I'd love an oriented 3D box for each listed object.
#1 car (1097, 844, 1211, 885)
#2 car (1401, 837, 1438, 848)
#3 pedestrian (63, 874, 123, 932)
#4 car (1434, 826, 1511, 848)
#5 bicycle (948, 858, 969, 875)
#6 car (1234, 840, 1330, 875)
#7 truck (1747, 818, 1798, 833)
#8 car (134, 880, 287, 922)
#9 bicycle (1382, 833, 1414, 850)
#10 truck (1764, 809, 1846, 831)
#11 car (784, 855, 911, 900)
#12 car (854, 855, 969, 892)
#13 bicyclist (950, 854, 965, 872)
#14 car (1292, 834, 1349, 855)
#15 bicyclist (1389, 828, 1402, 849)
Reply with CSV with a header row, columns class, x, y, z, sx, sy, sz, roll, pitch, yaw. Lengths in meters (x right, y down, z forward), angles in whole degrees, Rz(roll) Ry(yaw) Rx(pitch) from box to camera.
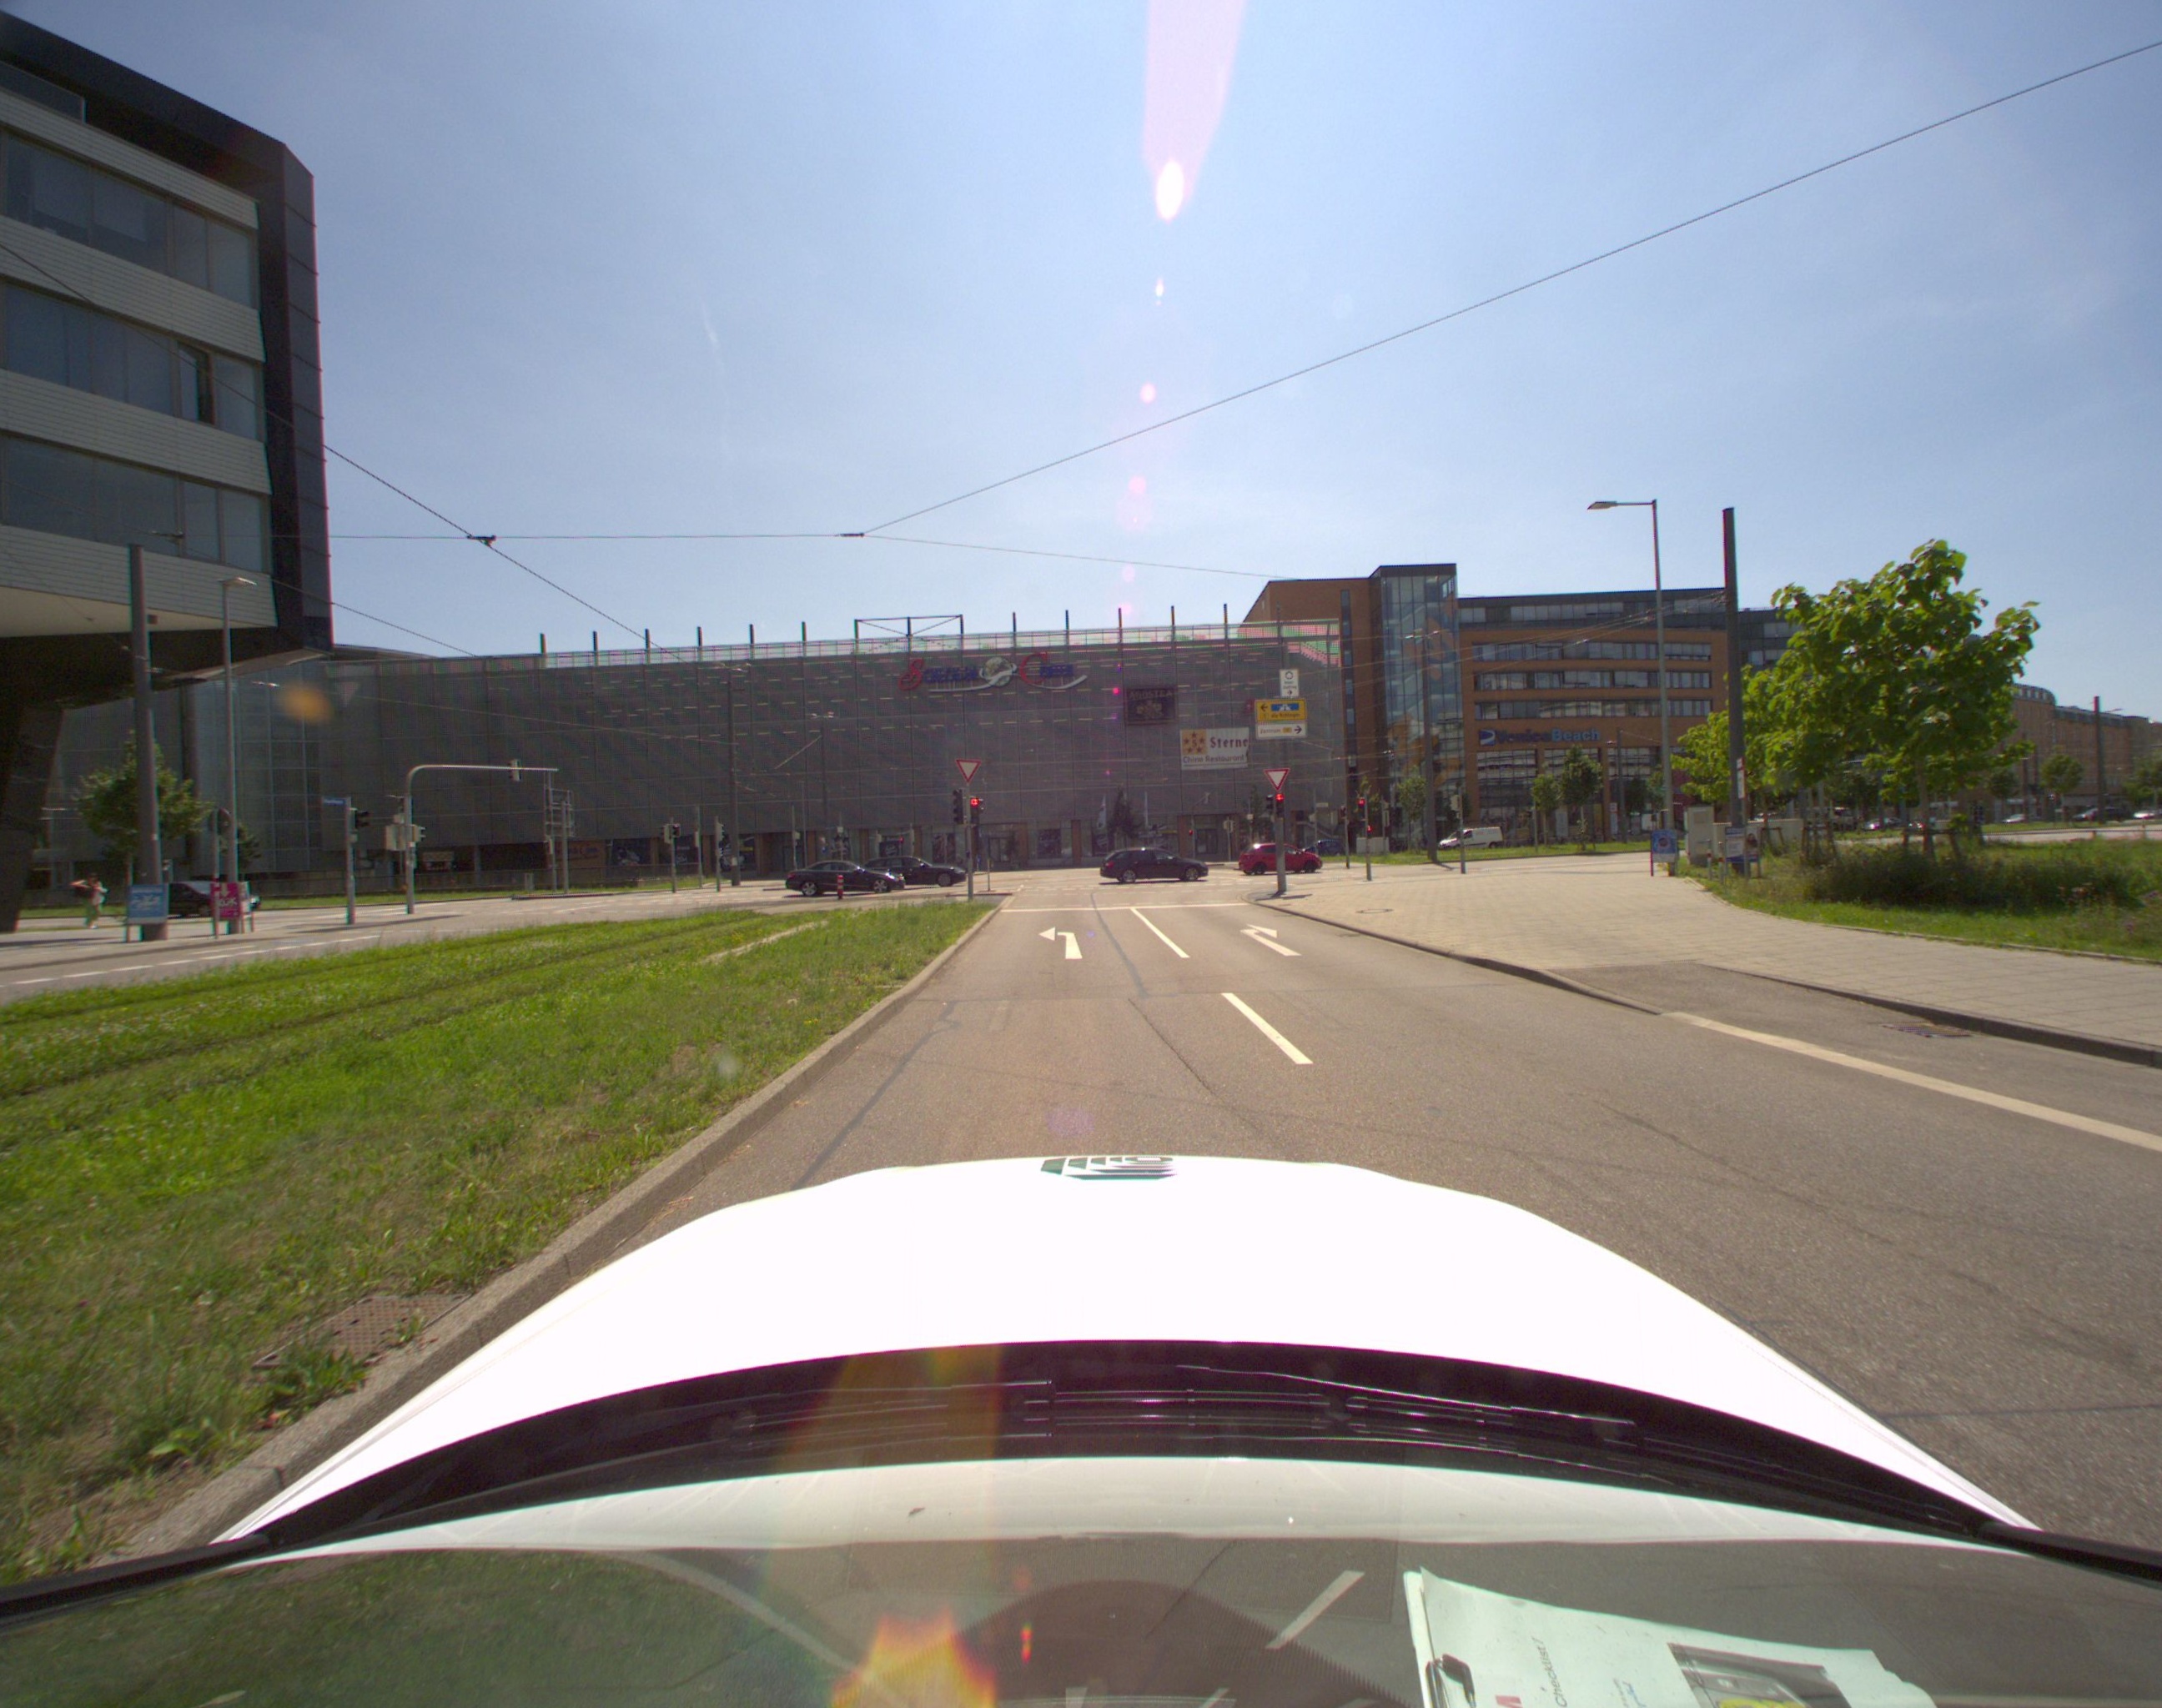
class,x,y,z,sx,sy,sz,roll,pitch,yaw
car,3.084,0.415,34.761,4.522,1.508,1.838,-3,1,-8
car,32.114,-1.088,77.352,2.987,1.035,1.348,-1,1,-4
pedestrian,-31.482,1.529,25.967,0.908,1.746,0.968,-2,1,-31
car,31.875,-1.398,66.409,5.456,1.668,1.996,-1,1,-6
bicycle,-10.918,1.118,72.479,1.056,1.390,3.030,-1,1,7
car,9.570,0.148,38.934,4.118,1.508,1.840,-1,1,-4
truck,99.183,-4.094,116.881,1.885,2.013,5.336,-2,1,-25
car,-38.218,2.036,35.849,4.312,1.553,1.997,-1,1,-5
bicycle,30.736,-1.236,78.922,2.838,1.557,0.705,-1,1,2
truck,107.034,-4.979,120.581,2.001,2.809,9.176,-2,1,-21
car,-9.347,0.916,32.879,4.539,1.576,1.998,-1,1,-4
car,-7.524,0.855,36.565,4.754,1.460,1.886,-1,1,-4
bicyclist,-10.951,0.829,72.253,1.034,1.571,0.779,-1,1,6
car,19.064,-0.745,64.860,3.977,1.538,1.880,-1,1,-3
bicyclist,30.477,-1.466,78.894,0.909,2.013,0.748,-1,1,1
